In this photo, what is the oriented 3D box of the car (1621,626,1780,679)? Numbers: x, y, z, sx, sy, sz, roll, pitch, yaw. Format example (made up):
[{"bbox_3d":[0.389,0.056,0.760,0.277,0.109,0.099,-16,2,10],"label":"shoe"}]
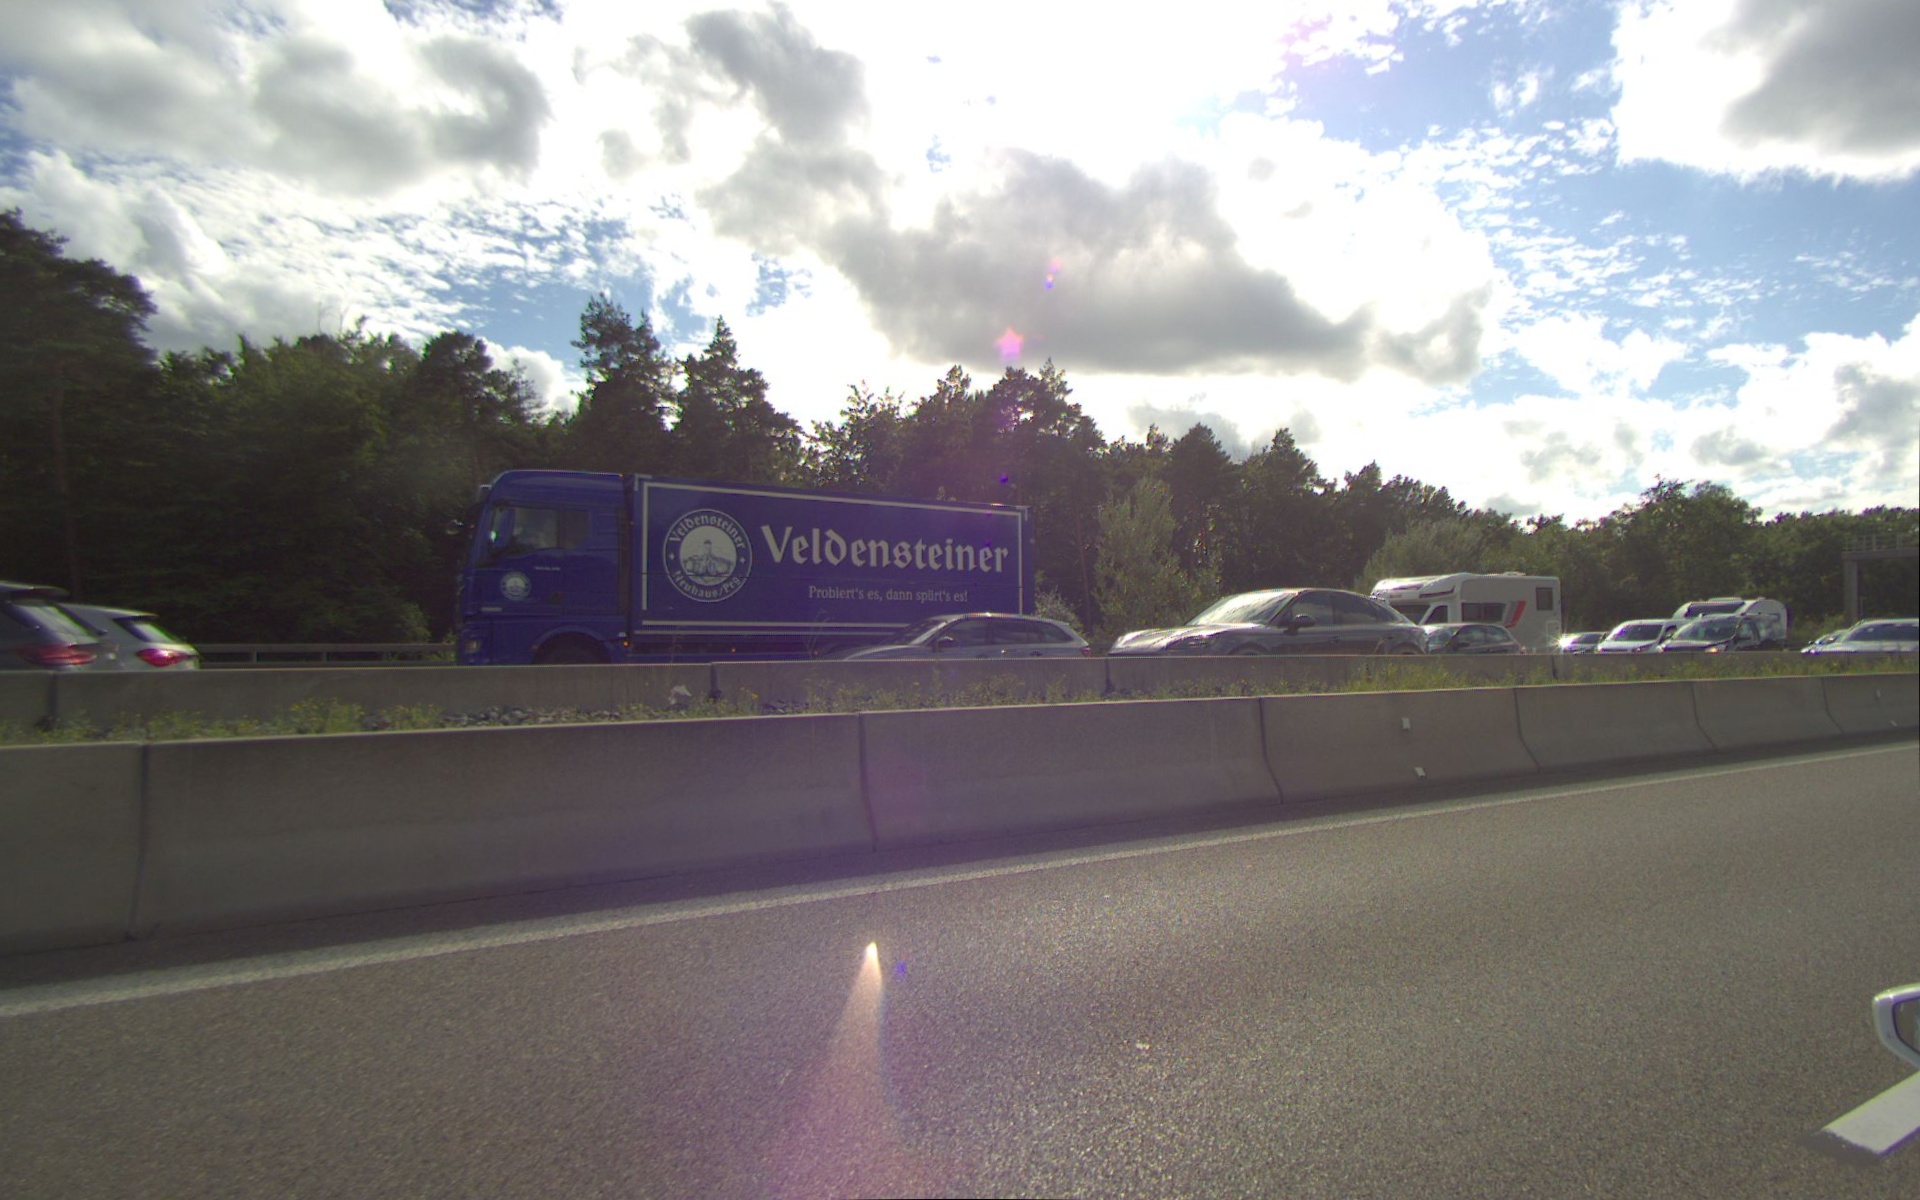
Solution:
[{"bbox_3d":[19.712,1.350,26.699,4.514,1.247,1.823,1,0,-31],"label":"car"}]

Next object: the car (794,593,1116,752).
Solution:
[{"bbox_3d":[-0.014,1.000,15.196,4.583,2.088,1.823,1,0,-31],"label":"car"}]

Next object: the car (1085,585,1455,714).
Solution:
[{"bbox_3d":[4.097,0.591,12.987,4.847,1.406,1.823,1,-1,-31],"label":"car"}]

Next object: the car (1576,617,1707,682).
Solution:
[{"bbox_3d":[22.100,1.557,32.555,4.430,1.941,1.823,1,0,-31],"label":"car"}]

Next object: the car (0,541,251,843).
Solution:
[{"bbox_3d":[-7.200,0.518,6.079,4.577,1.787,1.807,1,0,-31],"label":"car"}]

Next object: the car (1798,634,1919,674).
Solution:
[{"bbox_3d":[20.081,1.135,21.737,4.396,0.734,1.639,1,0,-31],"label":"car"}]

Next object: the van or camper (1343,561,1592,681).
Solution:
[{"bbox_3d":[14.088,0.649,27.682,7.395,2.927,2.458,3,-1,-30],"label":"van or camper"}]

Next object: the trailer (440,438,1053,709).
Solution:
[{"bbox_3d":[-3.333,-0.255,17.589,10.102,3.707,2.873,1,0,-31],"label":"trailer"}]

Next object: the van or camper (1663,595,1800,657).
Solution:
[{"bbox_3d":[27.495,0.903,35.775,4.633,2.038,2.272,1,0,-30],"label":"van or camper"}]

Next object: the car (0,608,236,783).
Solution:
[{"bbox_3d":[-9.619,0.826,9.049,4.847,1.502,1.715,1,-1,-31],"label":"car"}]
